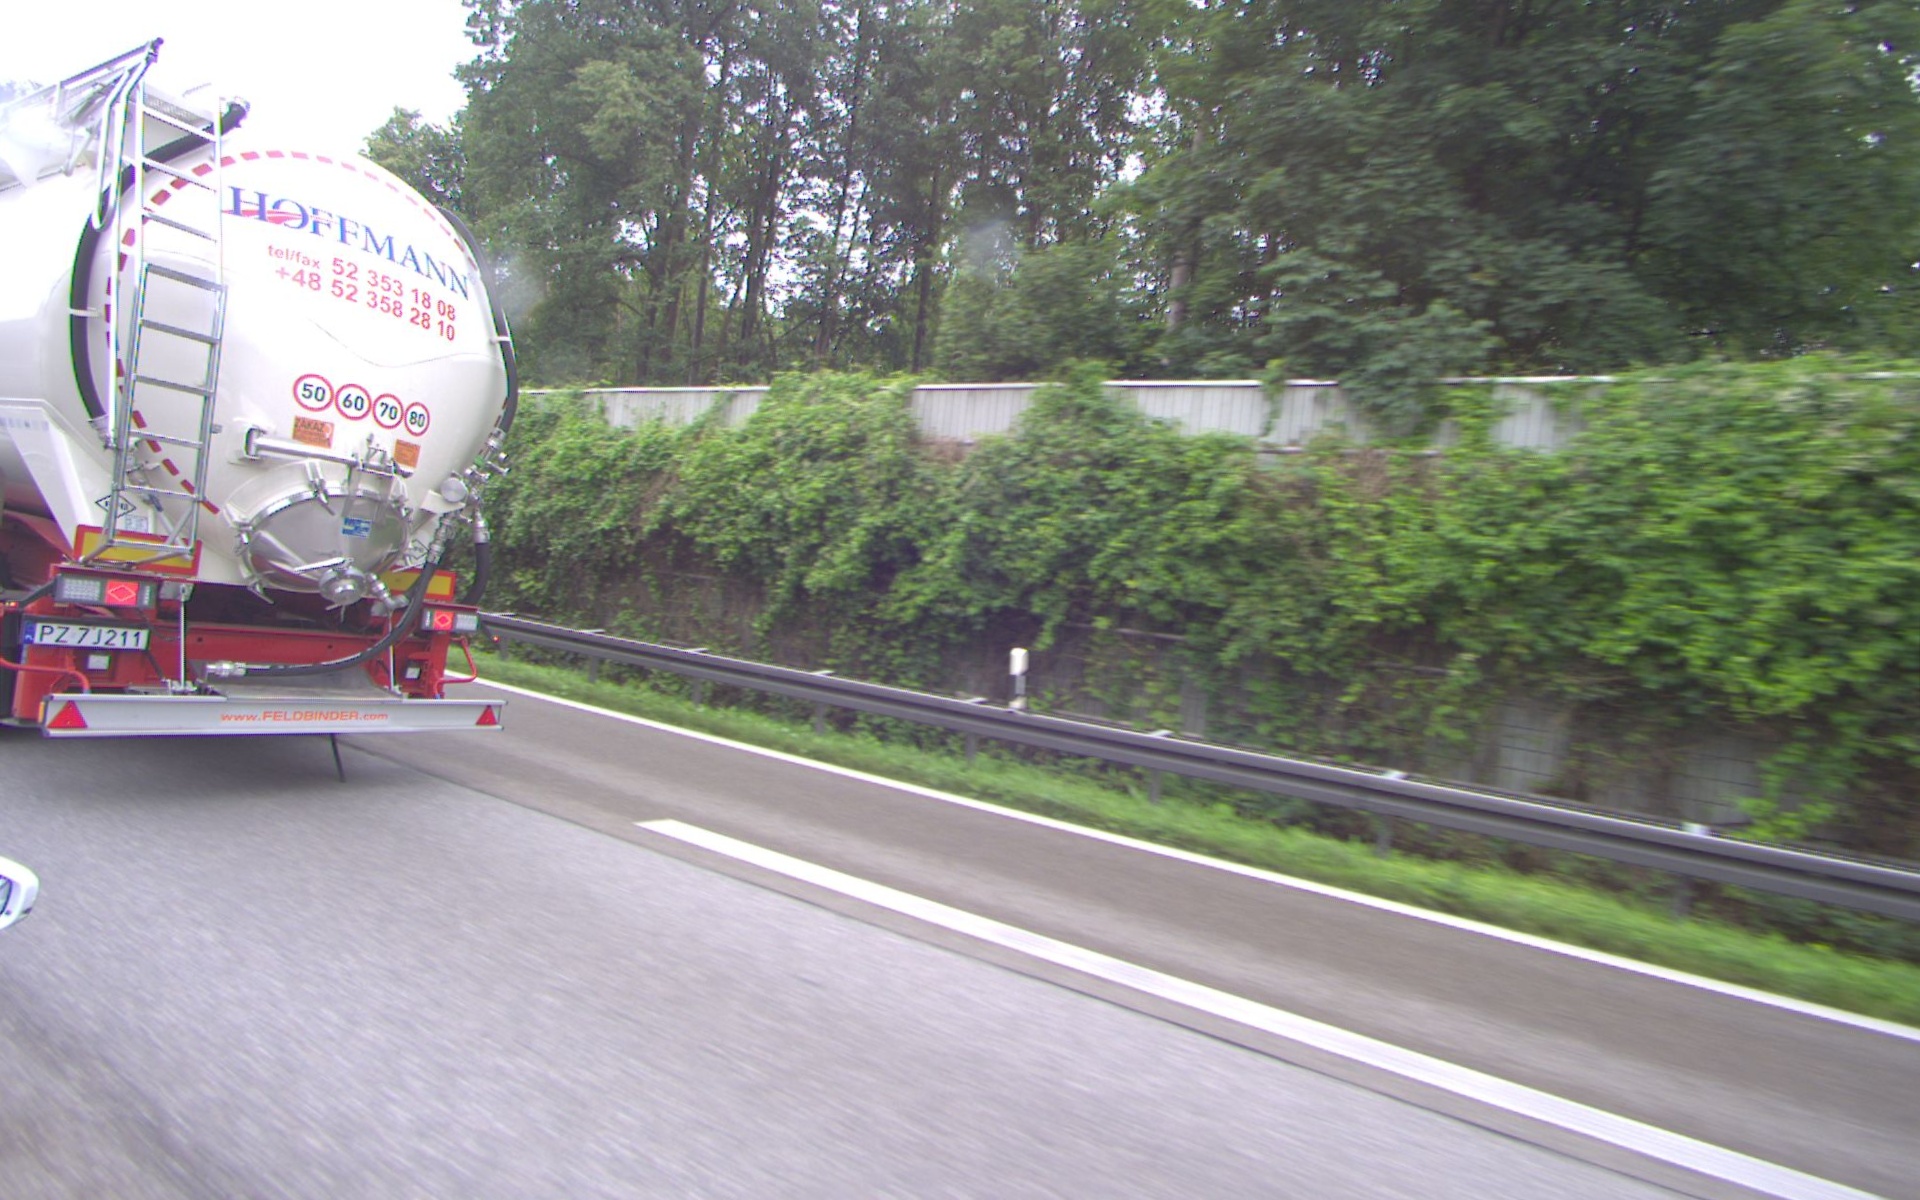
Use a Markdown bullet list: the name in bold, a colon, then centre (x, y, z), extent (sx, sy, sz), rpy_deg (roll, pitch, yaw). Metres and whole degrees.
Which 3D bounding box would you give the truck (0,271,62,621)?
- **truck**: centre (-14.247, -2.126, 12.489), extent (6.449, 3.960, 2.698), rpy_deg (6, 0, 32)

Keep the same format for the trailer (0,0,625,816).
- **trailer**: centre (-8.566, -1.530, 8.923), extent (12.913, 3.987, 2.672), rpy_deg (6, 0, 32)
